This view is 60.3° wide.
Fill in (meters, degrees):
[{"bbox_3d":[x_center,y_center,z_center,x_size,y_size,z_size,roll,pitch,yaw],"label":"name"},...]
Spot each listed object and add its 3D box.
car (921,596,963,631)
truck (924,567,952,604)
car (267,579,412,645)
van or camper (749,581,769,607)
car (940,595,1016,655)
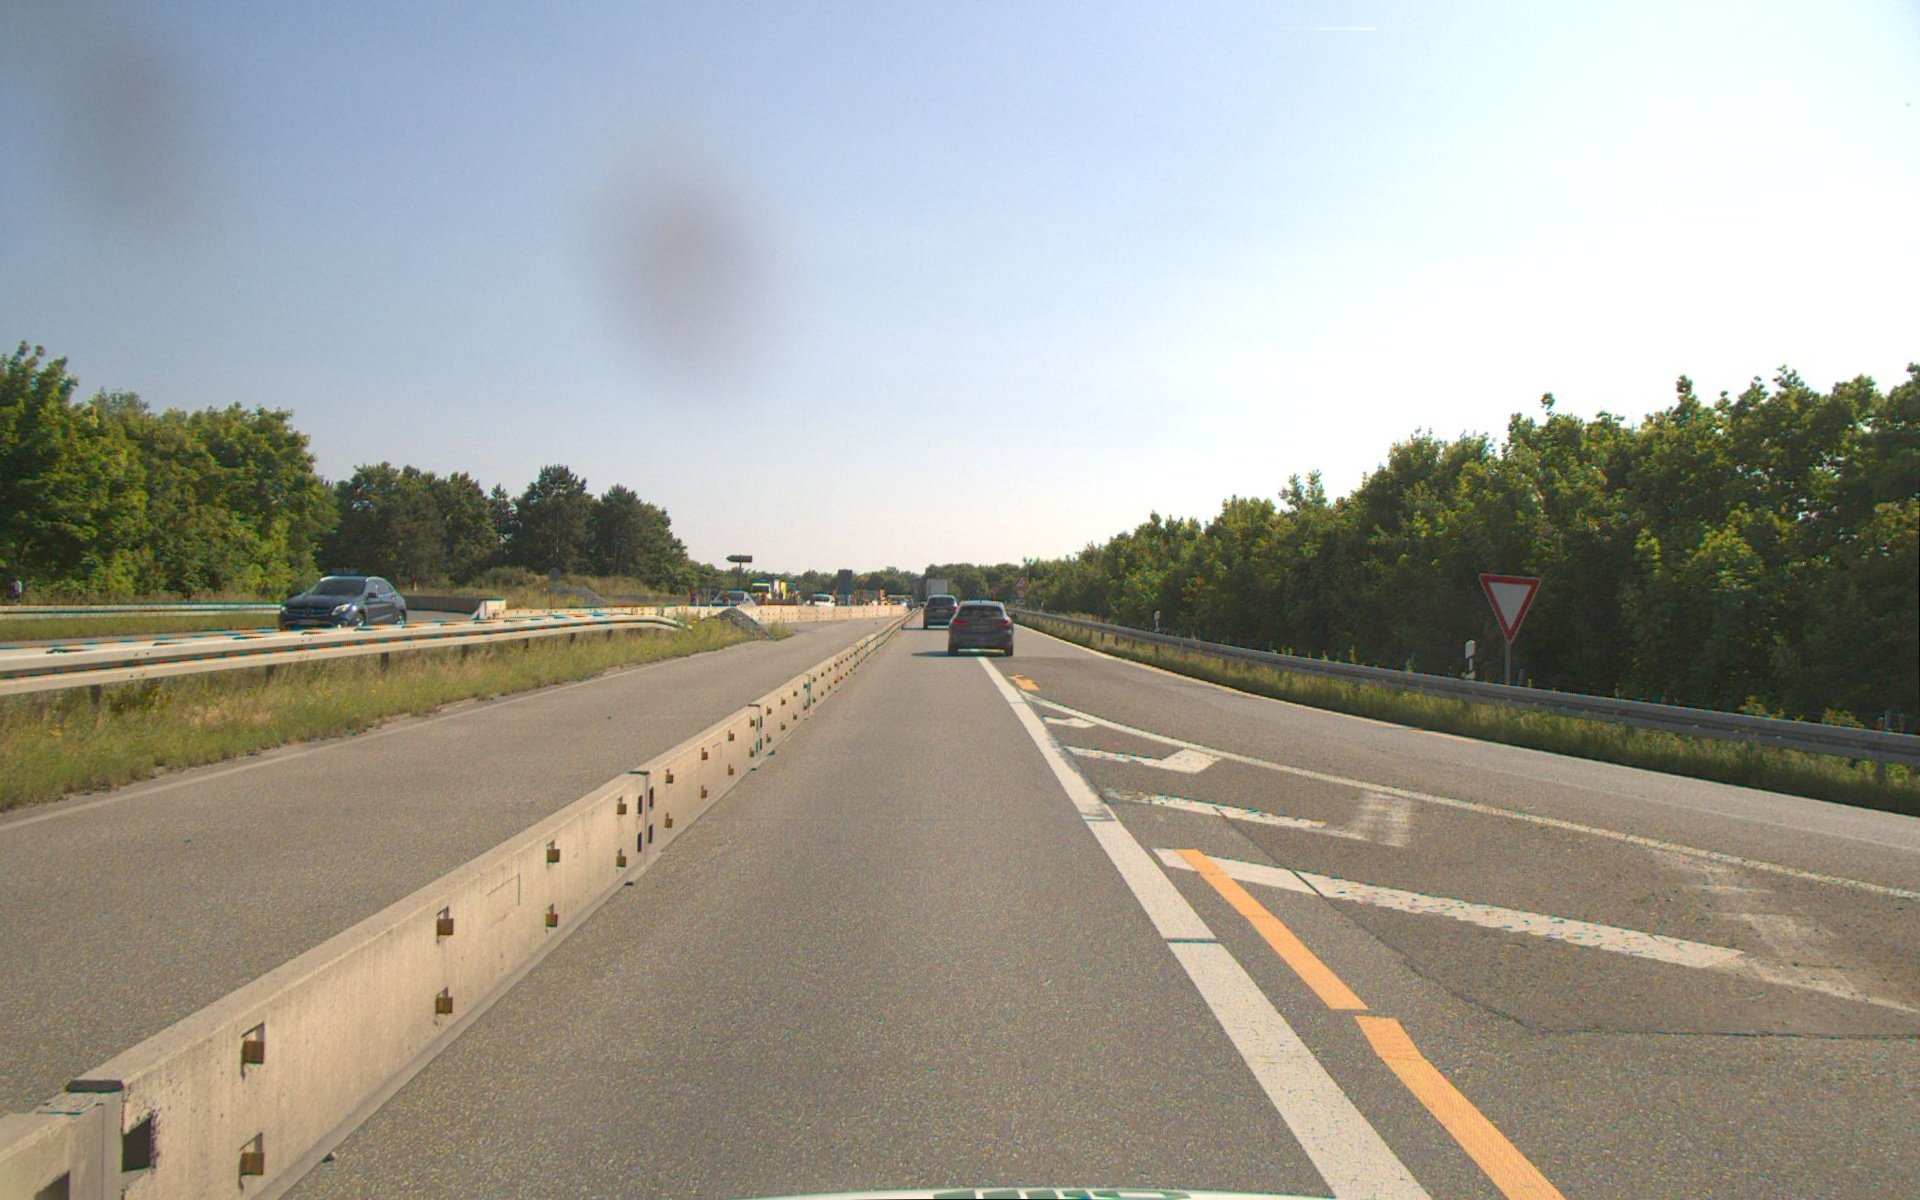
[{"bbox_3d":[-0.839,0.610,78.921,1.953,1.594,4.000,0,0,0],"label":"car"},{"bbox_3d":[-3.197,-1.999,235.079,3.685,4.997,14.132,2,0,-1],"label":"truck"},{"bbox_3d":[-14.944,0.265,40.116,1.760,1.459,4.592,1,0,0],"label":"car"},{"bbox_3d":[-19.958,-0.600,164.428,1.955,2.419,6.192,-1,0,-6],"label":"van or camper"},{"bbox_3d":[0.447,0.654,45.267,1.882,1.520,3.998,2,0,-2],"label":"car"}]
